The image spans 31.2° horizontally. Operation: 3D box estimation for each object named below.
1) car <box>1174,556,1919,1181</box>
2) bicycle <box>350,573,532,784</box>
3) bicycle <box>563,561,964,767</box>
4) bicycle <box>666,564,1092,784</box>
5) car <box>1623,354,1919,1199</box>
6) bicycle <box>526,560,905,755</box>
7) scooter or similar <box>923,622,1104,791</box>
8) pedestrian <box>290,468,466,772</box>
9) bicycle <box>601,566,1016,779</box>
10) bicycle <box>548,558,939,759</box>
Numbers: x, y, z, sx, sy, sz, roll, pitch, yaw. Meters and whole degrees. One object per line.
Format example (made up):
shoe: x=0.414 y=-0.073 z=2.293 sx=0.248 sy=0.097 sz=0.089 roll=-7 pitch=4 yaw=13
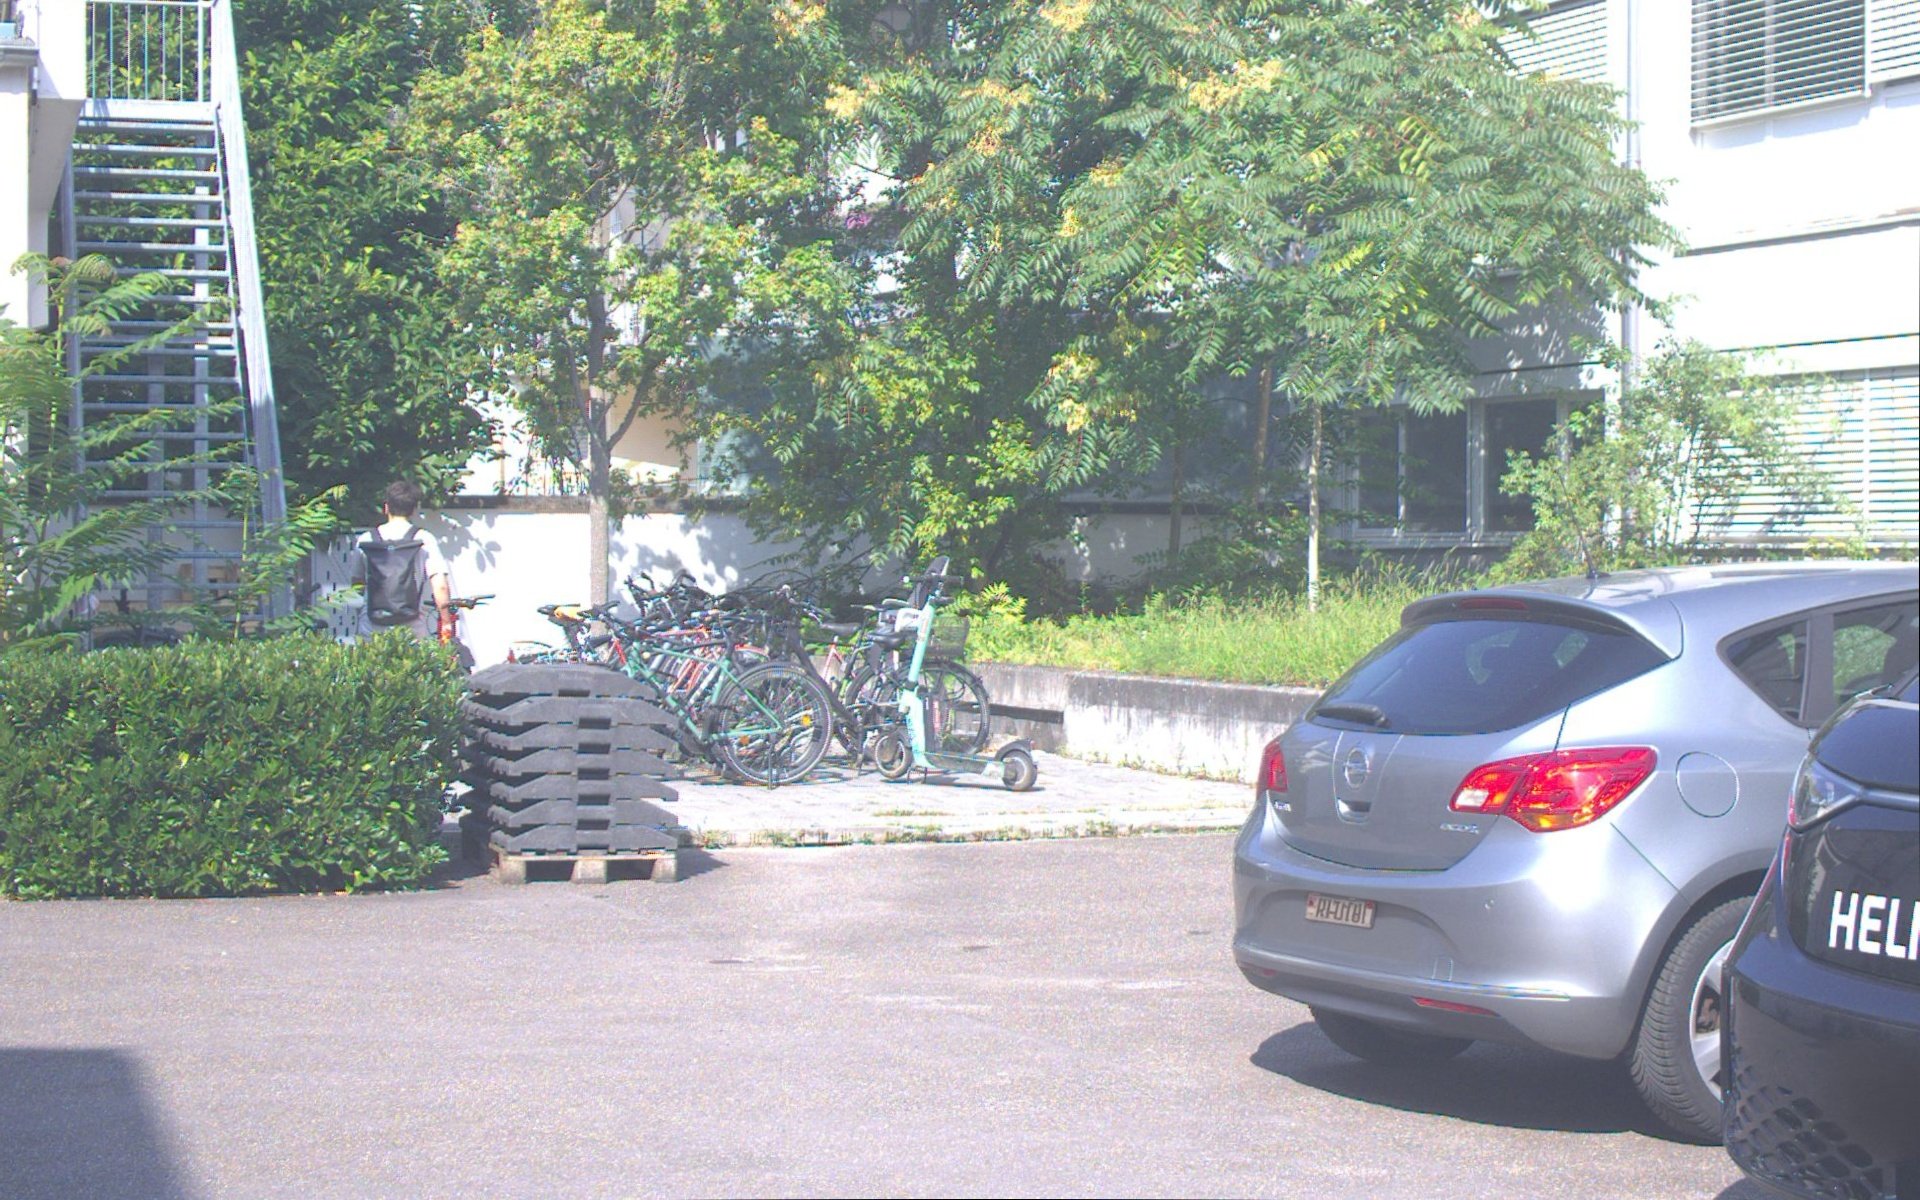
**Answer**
car: x=2.707 y=0.617 z=9.880 sx=3.896 sy=1.461 sz=1.663 roll=-1 pitch=2 yaw=-30
bicycle: x=-3.089 y=0.435 z=20.329 sx=0.488 sy=1.140 sz=1.994 roll=-1 pitch=2 yaw=-26
bicycle: x=-1.220 y=0.400 z=21.405 sx=2.410 sy=1.242 sz=0.526 roll=1 pitch=1 yaw=-16
bicycle: x=-0.467 y=0.432 z=20.070 sx=2.410 sy=1.242 sz=0.526 roll=1 pitch=1 yaw=-16
car: x=3.741 y=0.458 z=7.189 sx=4.334 sy=1.852 sz=1.915 roll=-1 pitch=2 yaw=-26
bicycle: x=-1.607 y=0.384 z=22.661 sx=2.410 sy=1.242 sz=0.526 roll=1 pitch=1 yaw=-16
scooter or similar: x=0.304 y=0.604 z=19.785 sx=0.998 sy=0.921 sz=0.359 roll=2 pitch=1 yaw=36
pedestrian: x=-3.462 y=0.115 z=20.442 sx=0.858 sy=1.765 sz=0.611 roll=1 pitch=1 yaw=-27
bicycle: x=-0.905 y=0.438 z=20.648 sx=2.410 sy=1.242 sz=0.526 roll=1 pitch=1 yaw=-16
bicycle: x=-1.380 y=0.374 z=21.982 sx=2.410 sy=1.242 sz=0.526 roll=1 pitch=1 yaw=-16
